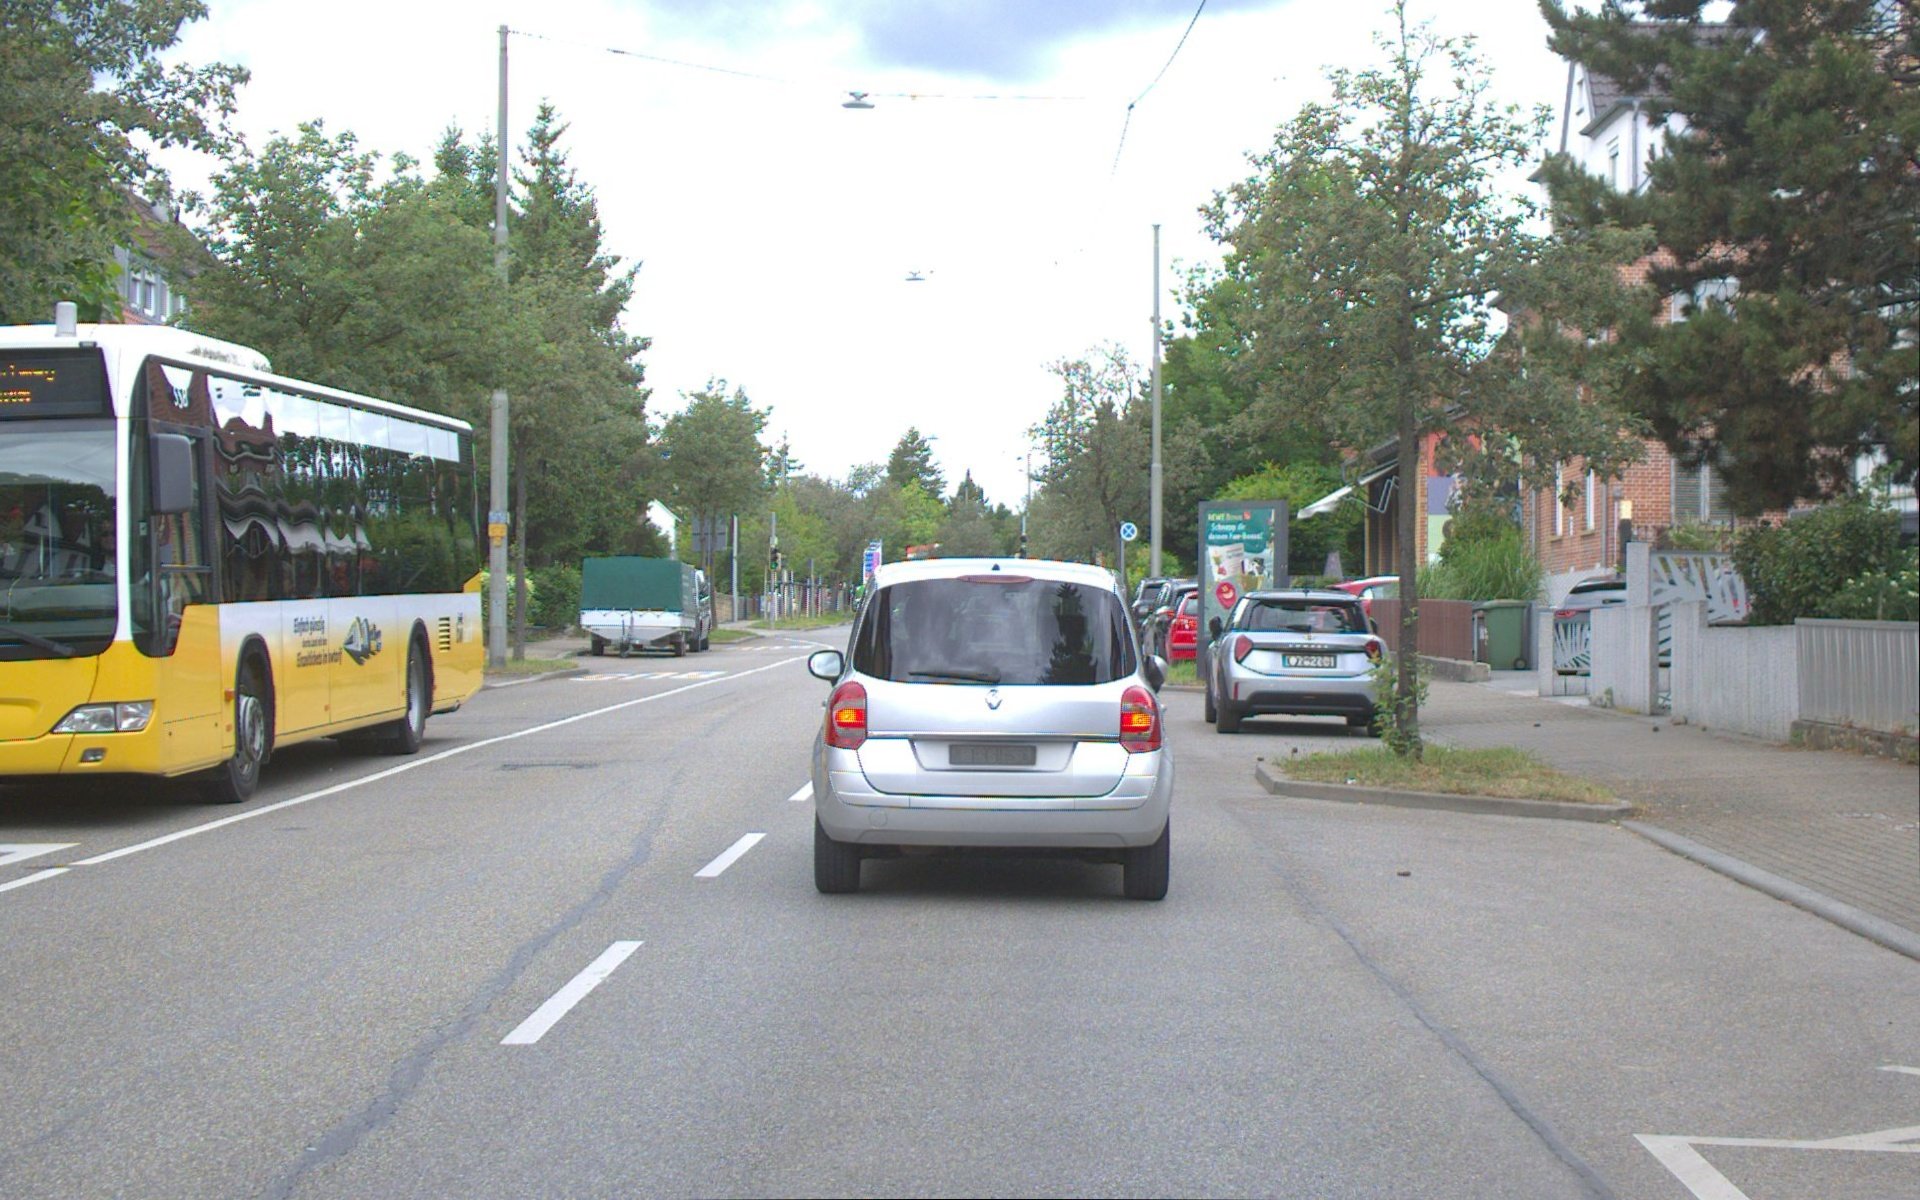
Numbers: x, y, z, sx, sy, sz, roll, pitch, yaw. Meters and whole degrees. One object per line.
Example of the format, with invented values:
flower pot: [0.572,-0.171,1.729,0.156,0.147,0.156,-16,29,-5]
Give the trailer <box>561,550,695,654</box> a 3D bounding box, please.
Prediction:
trailer: [-7.107,0.085,74.149,2.312,2.080,5.872,2,-1,-1]

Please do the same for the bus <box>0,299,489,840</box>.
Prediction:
bus: [-5.822,-0.176,25.648,2.632,3.075,12.069,-1,0,1]

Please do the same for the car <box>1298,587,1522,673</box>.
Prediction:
car: [8.835,0.585,67.706,3.986,1.491,1.810,-2,0,-7]

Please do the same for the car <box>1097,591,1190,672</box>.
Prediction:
car: [3.990,0.703,75.314,1.812,1.737,4.000,0,-1,0]

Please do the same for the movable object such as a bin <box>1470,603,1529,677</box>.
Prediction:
movable object such as a bin: [8.174,0.603,52.113,0.776,1.100,0.691,0,0,0]

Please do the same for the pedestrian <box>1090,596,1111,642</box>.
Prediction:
pedestrian: [5.028,0.662,123.111,0.705,1.641,0.773,0,0,0]

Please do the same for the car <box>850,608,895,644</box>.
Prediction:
car: [-4.186,1.250,164.016,1.905,1.612,4.000,1,-1,-4]

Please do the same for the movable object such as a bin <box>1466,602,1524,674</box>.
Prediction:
movable object such as a bin: [8.220,0.578,52.870,0.776,1.100,0.691,0,0,0]

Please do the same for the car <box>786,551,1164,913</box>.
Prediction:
car: [0.137,0.617,17.284,1.630,1.551,3.999,2,-1,2]

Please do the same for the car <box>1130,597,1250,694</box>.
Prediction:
car: [3.899,0.750,58.794,1.662,1.559,4.099,1,0,-2]

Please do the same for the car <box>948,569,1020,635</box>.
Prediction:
car: [0.635,0.050,89.709,1.829,1.670,3.574,0,0,1]

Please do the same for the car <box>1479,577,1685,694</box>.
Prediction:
car: [8.959,0.480,49.240,1.820,1.376,4.474,-5,-1,23]

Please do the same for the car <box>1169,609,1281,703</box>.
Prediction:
car: [4.131,0.852,53.975,1.662,1.388,3.667,0,0,3]

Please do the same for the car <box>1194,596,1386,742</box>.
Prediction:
car: [3.328,0.702,35.251,1.650,1.378,4.000,1,-1,1]
